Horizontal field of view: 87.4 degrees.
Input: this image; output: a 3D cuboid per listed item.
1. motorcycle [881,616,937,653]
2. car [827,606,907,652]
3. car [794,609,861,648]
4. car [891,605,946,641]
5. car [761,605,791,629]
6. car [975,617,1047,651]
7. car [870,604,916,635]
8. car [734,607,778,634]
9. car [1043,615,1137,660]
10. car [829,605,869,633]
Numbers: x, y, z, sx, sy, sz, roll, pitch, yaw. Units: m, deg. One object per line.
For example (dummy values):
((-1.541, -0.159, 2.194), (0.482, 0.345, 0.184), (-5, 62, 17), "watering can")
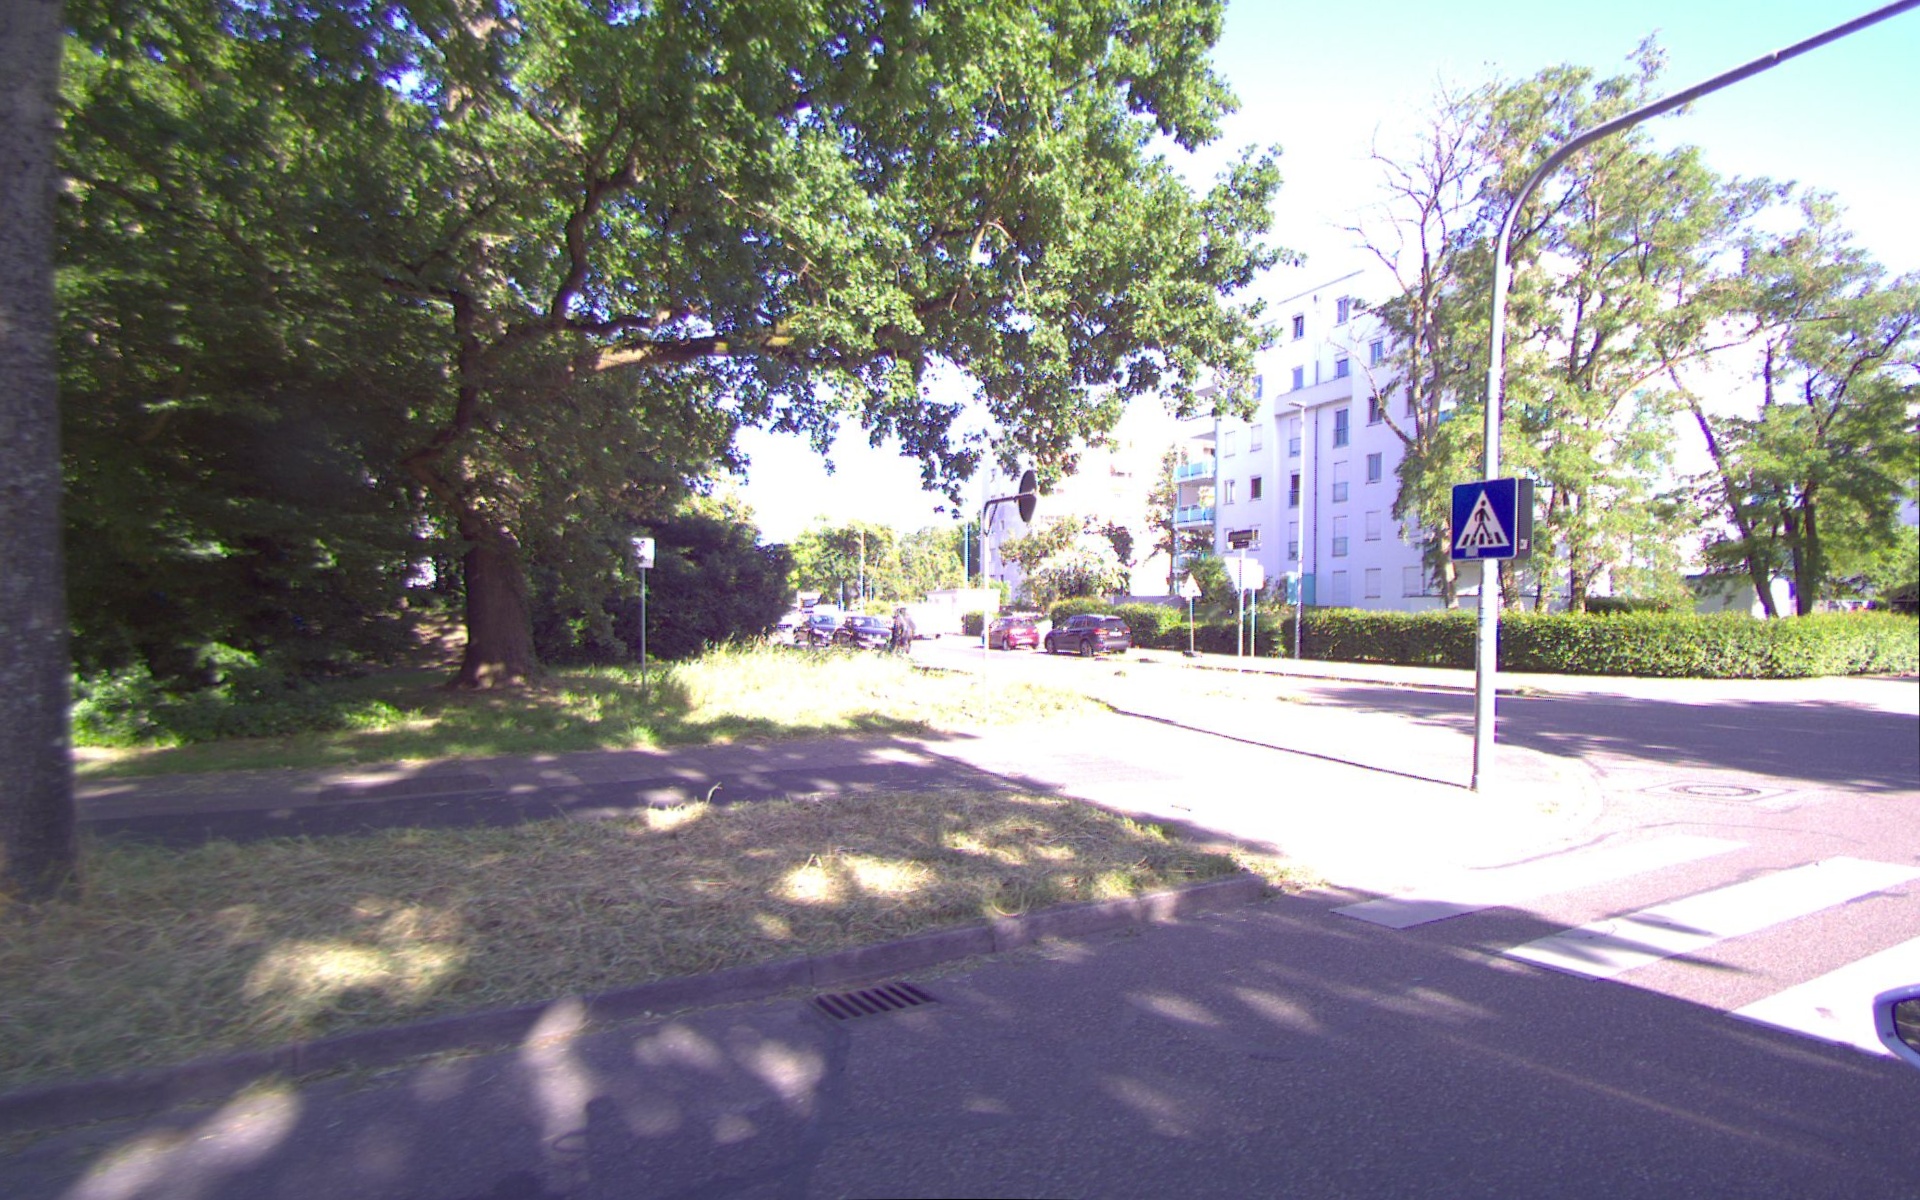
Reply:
((-1.824, 1.216, 36.201), (1.126, 1.270, 2.564), (1, 0, 19), "motorcycle")
((-3.645, 1.079, 38.863), (1.971, 1.639, 3.978), (1, 0, -23), "car")
((-5.986, 1.244, 45.042), (1.971, 1.639, 3.978), (1, 0, -23), "car")
((-2.481, 1.317, 59.190), (1.969, 1.983, 4.454), (-1, 0, -20), "car")
((-16.405, 1.490, 89.374), (1.969, 1.983, 4.454), (-1, 0, -20), "car")
((2.285, 1.509, 46.054), (1.784, 1.442, 3.978), (0, -1, -23), "car")
((-4.616, 1.303, 68.268), (1.969, 1.983, 4.454), (-1, 0, -20), "car")
((-12.856, 1.276, 63.058), (1.971, 1.639, 3.978), (1, 0, -23), "car")
((5.094, 1.441, 39.865), (1.985, 1.634, 3.978), (1, 0, -23), "car")
((-8.237, 1.375, 74.505), (1.969, 1.983, 4.454), (-1, 0, -20), "car")
